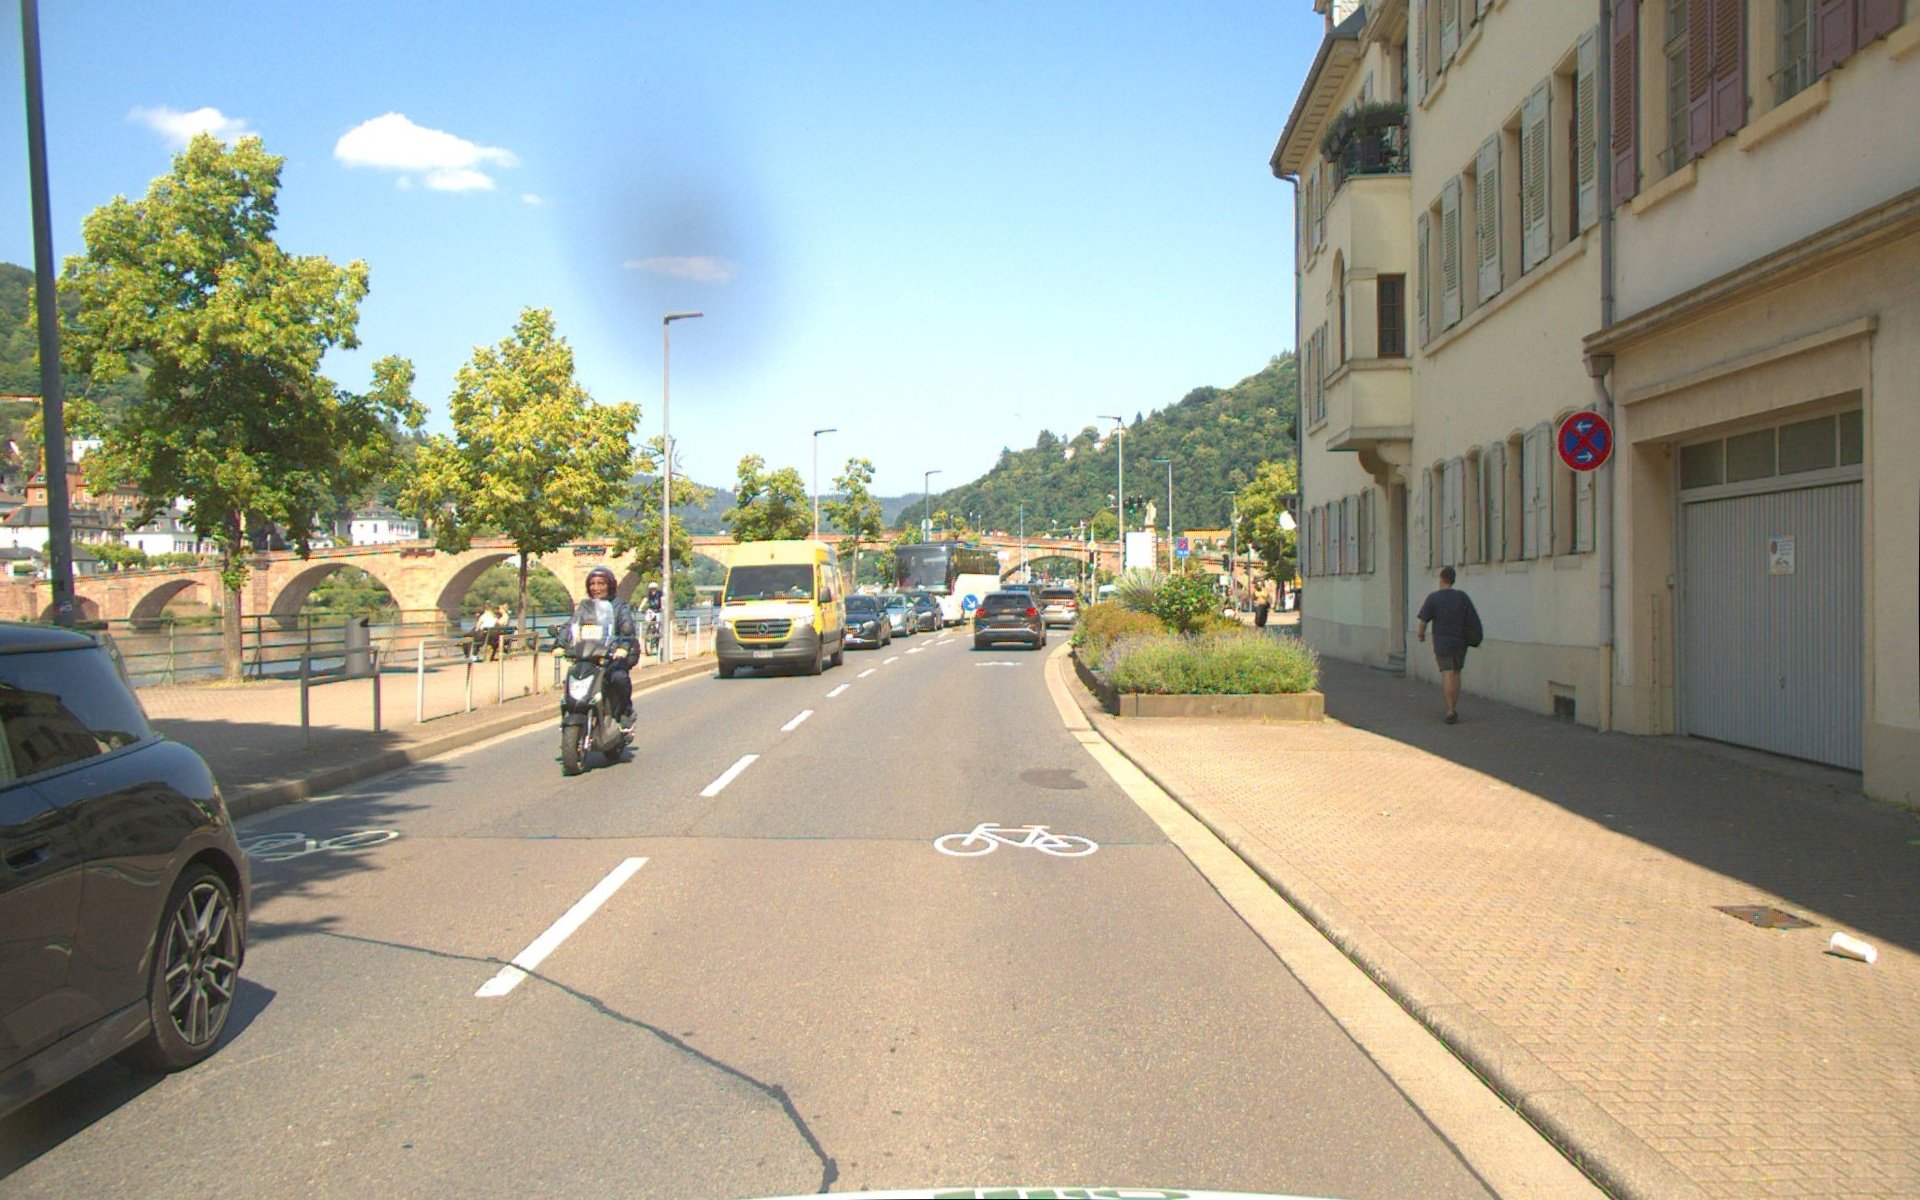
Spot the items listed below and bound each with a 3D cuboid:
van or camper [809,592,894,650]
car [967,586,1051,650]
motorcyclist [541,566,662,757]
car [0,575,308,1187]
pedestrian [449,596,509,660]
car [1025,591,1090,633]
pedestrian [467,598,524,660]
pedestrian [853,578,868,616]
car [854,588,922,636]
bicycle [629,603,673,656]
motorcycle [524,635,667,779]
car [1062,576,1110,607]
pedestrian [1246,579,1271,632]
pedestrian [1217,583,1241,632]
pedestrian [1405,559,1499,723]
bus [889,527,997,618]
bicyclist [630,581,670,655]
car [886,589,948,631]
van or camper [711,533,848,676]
[{"bbox_3d":[-3.027,0.567,46.916,1.952,1.480,4.683,-3,0,1],"label":"van or camper"},{"bbox_3d":[1.381,0.447,44.248,1.886,1.580,4.835,-2,0,6],"label":"car"},{"bbox_3d":[-3.154,0.525,14.644,0.861,1.611,1.024,-1,0,-2],"label":"motorcyclist"},{"bbox_3d":[-3.173,0.701,3.960,1.666,1.483,4.001,-1,0,-1],"label":"car"},{"bbox_3d":[-10.124,0.584,34.827,0.916,1.303,0.850,-1,0,7],"label":"pedestrian"},{"bbox_3d":[3.715,0.418,62.462,1.885,1.486,4.836,-1,0,10],"label":"car"},{"bbox_3d":[-10.008,0.614,35.640,0.916,1.303,0.850,-1,0,7],"label":"pedestrian"},{"bbox_3d":[-4.742,-0.161,78.940,0.607,1.811,0.662,-1,0,6],"label":"pedestrian"},{"bbox_3d":[-2.420,0.387,56.347,1.775,1.453,4.313,-3,1,4],"label":"car"},{"bbox_3d":[-7.348,0.696,39.365,0.697,1.189,1.896,0,1,0],"label":"bicycle"},{"bbox_3d":[-3.153,0.889,14.545,0.866,1.096,2.326,-1,0,-4],"label":"motorcycle"},{"bbox_3d":[6.348,-0.422,82.965,1.885,1.486,4.836,-1,0,10],"label":"car"},{"bbox_3d":[9.967,0.171,55.180,0.722,1.728,0.934,-2,0,6],"label":"pedestrian"},{"bbox_3d":[9.016,0.256,55.457,0.745,1.623,0.696,-1,0,6],"label":"pedestrian"},{"bbox_3d":[5.469,0.450,18.425,0.746,1.743,0.696,-4,0,2],"label":"pedestrian"},{"bbox_3d":[-0.546,-1.077,72.996,2.575,3.626,12.993,-1,-1,9],"label":"bus"},{"bbox_3d":[-7.348,0.414,39.249,0.725,1.696,1.089,-1,1,1],"label":"bicyclist"},{"bbox_3d":[-1.572,0.361,62.110,1.778,1.454,4.196,-2,0,5],"label":"car"},{"bbox_3d":[-3.555,0.082,33.863,2.045,2.601,7.091,0,0,0],"label":"van or camper"}]
